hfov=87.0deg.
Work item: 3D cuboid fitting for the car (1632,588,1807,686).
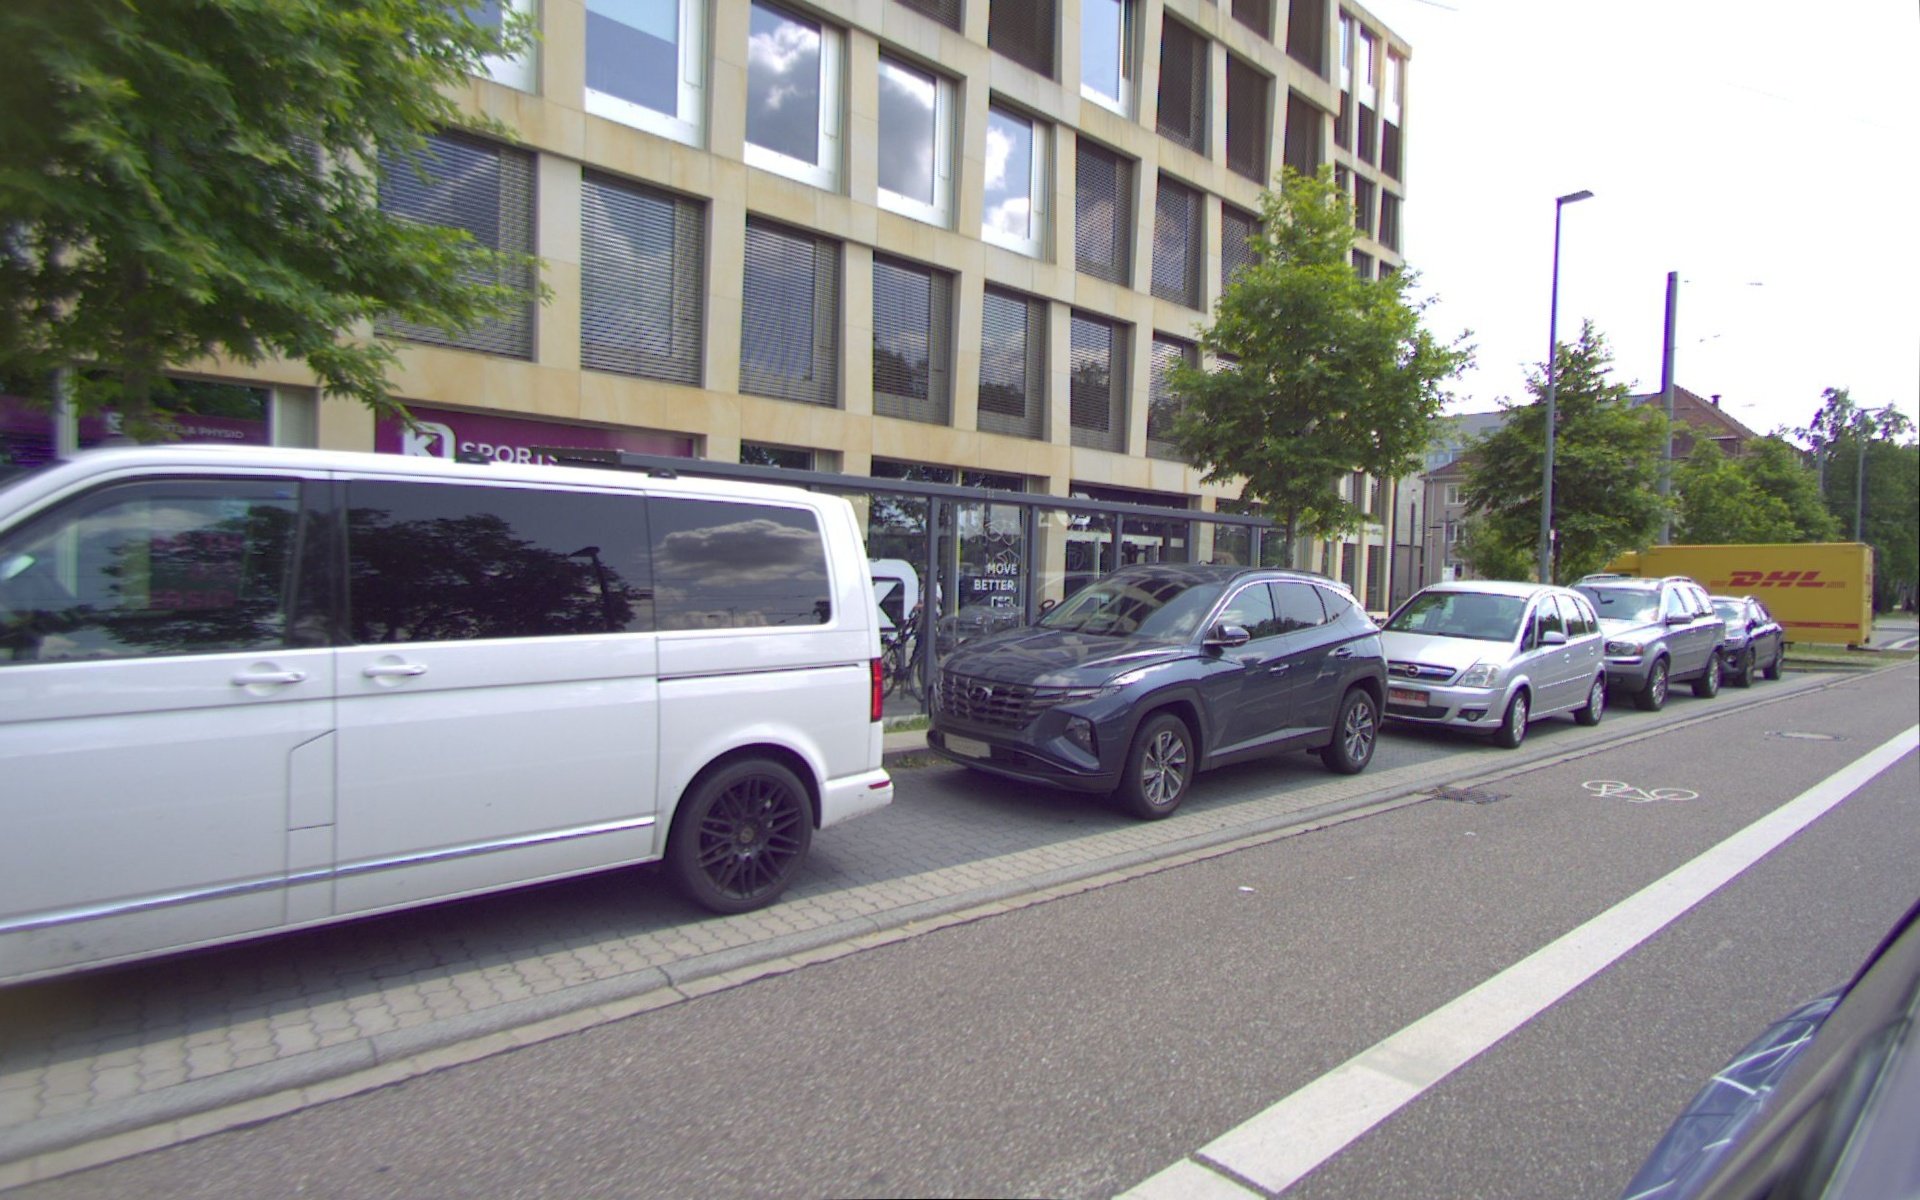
[{"bbox_3d":[13.744,0.586,18.243,3.997,1.523,1.695,0,2,-41],"label":"car"}]

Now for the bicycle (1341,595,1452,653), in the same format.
[{"bbox_3d":[7.996,0.453,18.628,0.432,1.007,1.843,0,-2,-41],"label":"bicycle"}]

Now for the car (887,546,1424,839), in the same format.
[{"bbox_3d":[1.740,0.506,7.957,4.448,1.660,1.725,0,3,-41],"label":"car"}]

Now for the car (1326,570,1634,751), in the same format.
[{"bbox_3d":[5.859,0.541,11.229,3.792,1.640,1.724,0,2,-41],"label":"car"}]

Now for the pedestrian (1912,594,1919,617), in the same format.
[{"bbox_3d":[68.168,0.374,71.901,0.613,1.627,0.624,0,3,-37],"label":"pedestrian"}]

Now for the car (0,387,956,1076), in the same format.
[{"bbox_3d":[-2.458,0.327,4.340,4.758,1.963,1.886,0,3,-41],"label":"car"}]

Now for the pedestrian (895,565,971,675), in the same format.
[{"bbox_3d":[-0.402,0.284,15.019,0.889,1.571,0.638,1,1,-41],"label":"pedestrian"}]

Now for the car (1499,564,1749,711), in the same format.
[{"bbox_3d":[9.747,0.446,14.692,4.755,1.789,1.772,0,2,-41],"label":"car"}]

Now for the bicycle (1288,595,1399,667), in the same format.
[{"bbox_3d":[6.974,0.531,18.477,0.479,1.139,1.845,0,3,-41],"label":"bicycle"}]

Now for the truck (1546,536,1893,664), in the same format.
[{"bbox_3d":[19.409,-0.146,26.256,2.413,2.902,6.816,0,2,-42],"label":"truck"}]

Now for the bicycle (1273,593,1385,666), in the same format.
[{"bbox_3d":[6.575,0.507,18.136,0.472,1.139,1.845,0,3,-41],"label":"bicycle"}]
